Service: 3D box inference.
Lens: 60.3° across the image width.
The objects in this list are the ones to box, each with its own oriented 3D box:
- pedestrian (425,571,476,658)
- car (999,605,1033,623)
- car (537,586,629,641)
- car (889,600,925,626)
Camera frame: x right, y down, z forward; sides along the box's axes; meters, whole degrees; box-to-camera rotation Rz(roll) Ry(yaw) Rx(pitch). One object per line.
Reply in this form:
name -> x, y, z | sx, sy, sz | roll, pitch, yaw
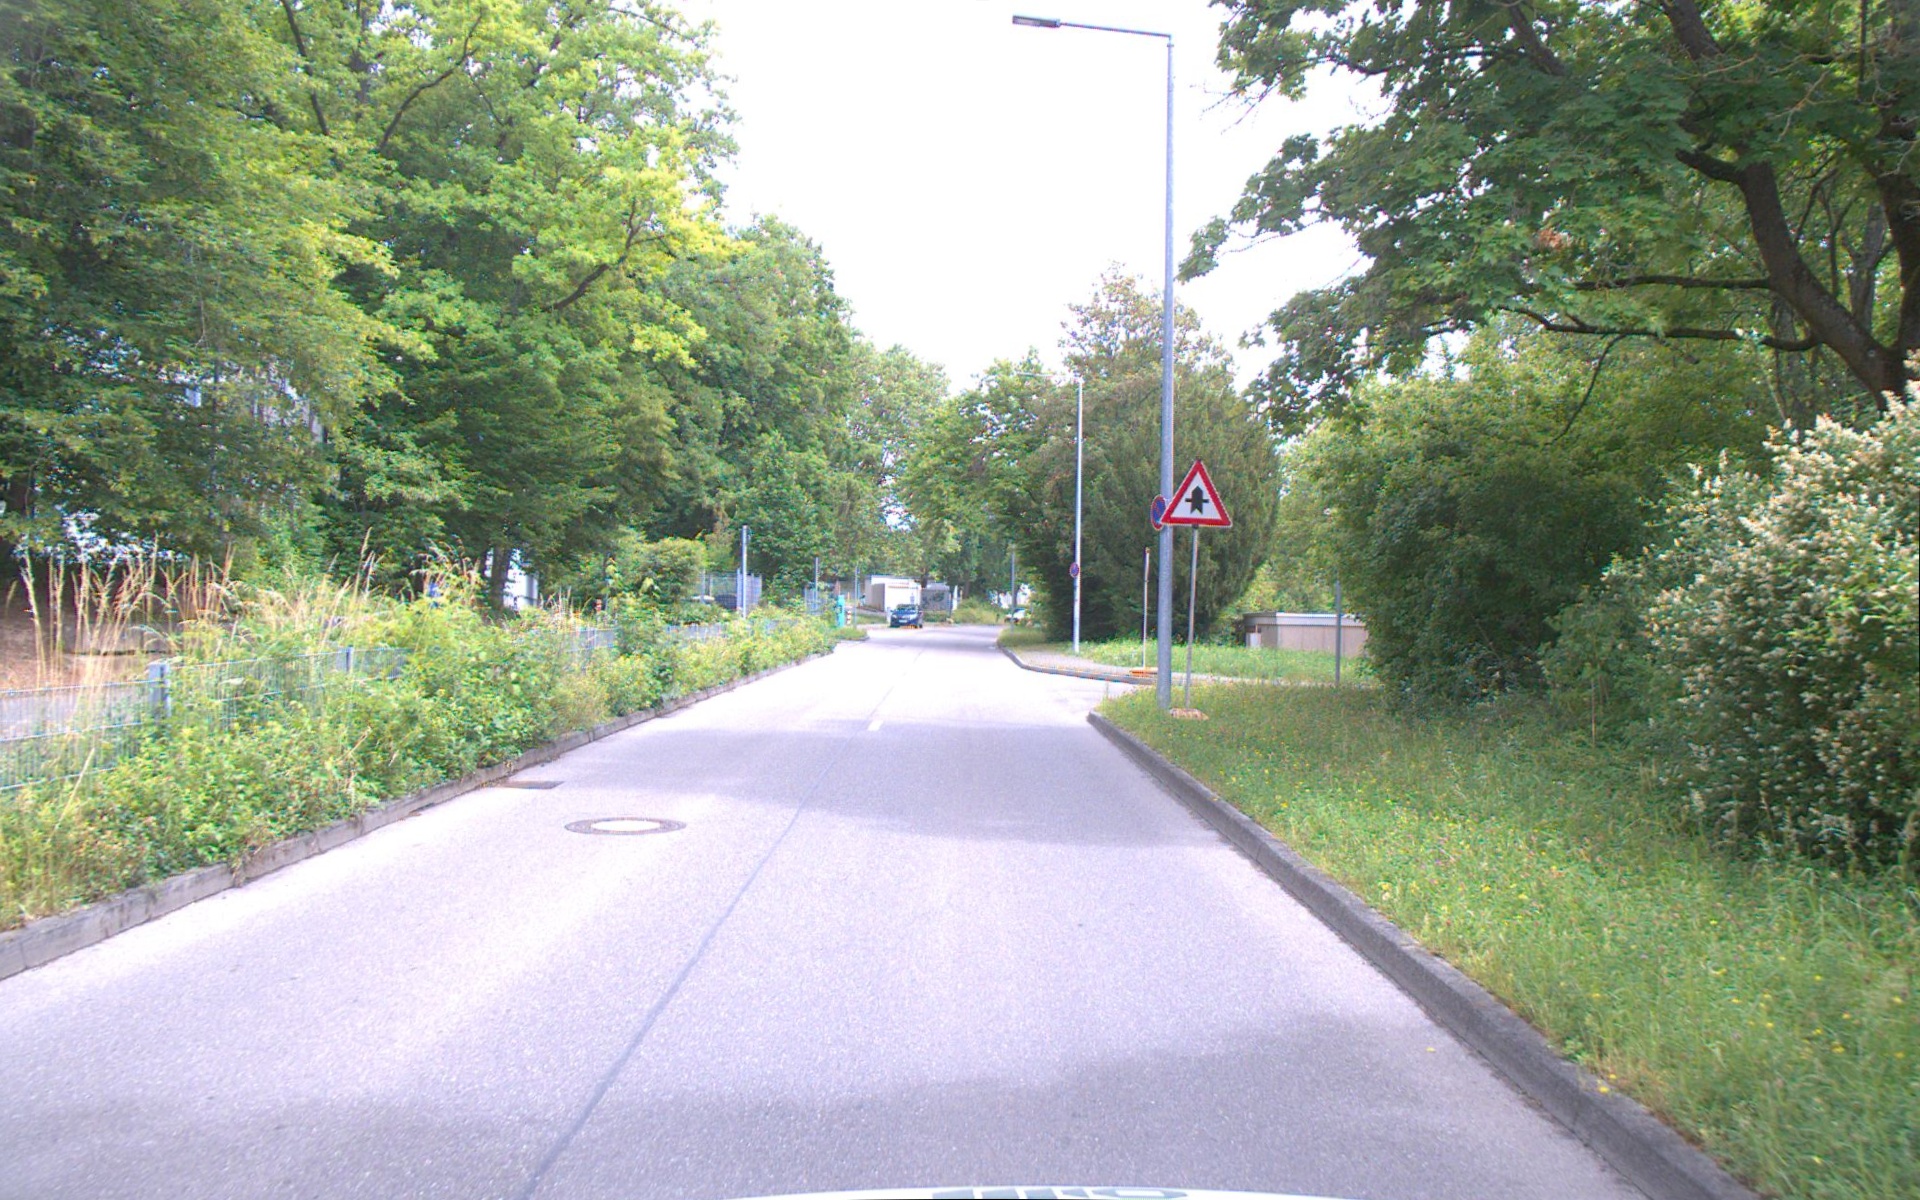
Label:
pedestrian -> -10.114, 0.292, 32.866 | 0.744, 1.691, 0.808 | 1, -1, -2
car -> 4.810, 1.188, 140.724 | 1.665, 1.427, 4.274 | 2, -1, 18
car -> -14.469, 0.515, 63.733 | 1.951, 2.049, 4.003 | 1, 0, 11
car -> -3.287, 0.850, 103.278 | 1.644, 1.538, 4.433 | 2, -1, 5
